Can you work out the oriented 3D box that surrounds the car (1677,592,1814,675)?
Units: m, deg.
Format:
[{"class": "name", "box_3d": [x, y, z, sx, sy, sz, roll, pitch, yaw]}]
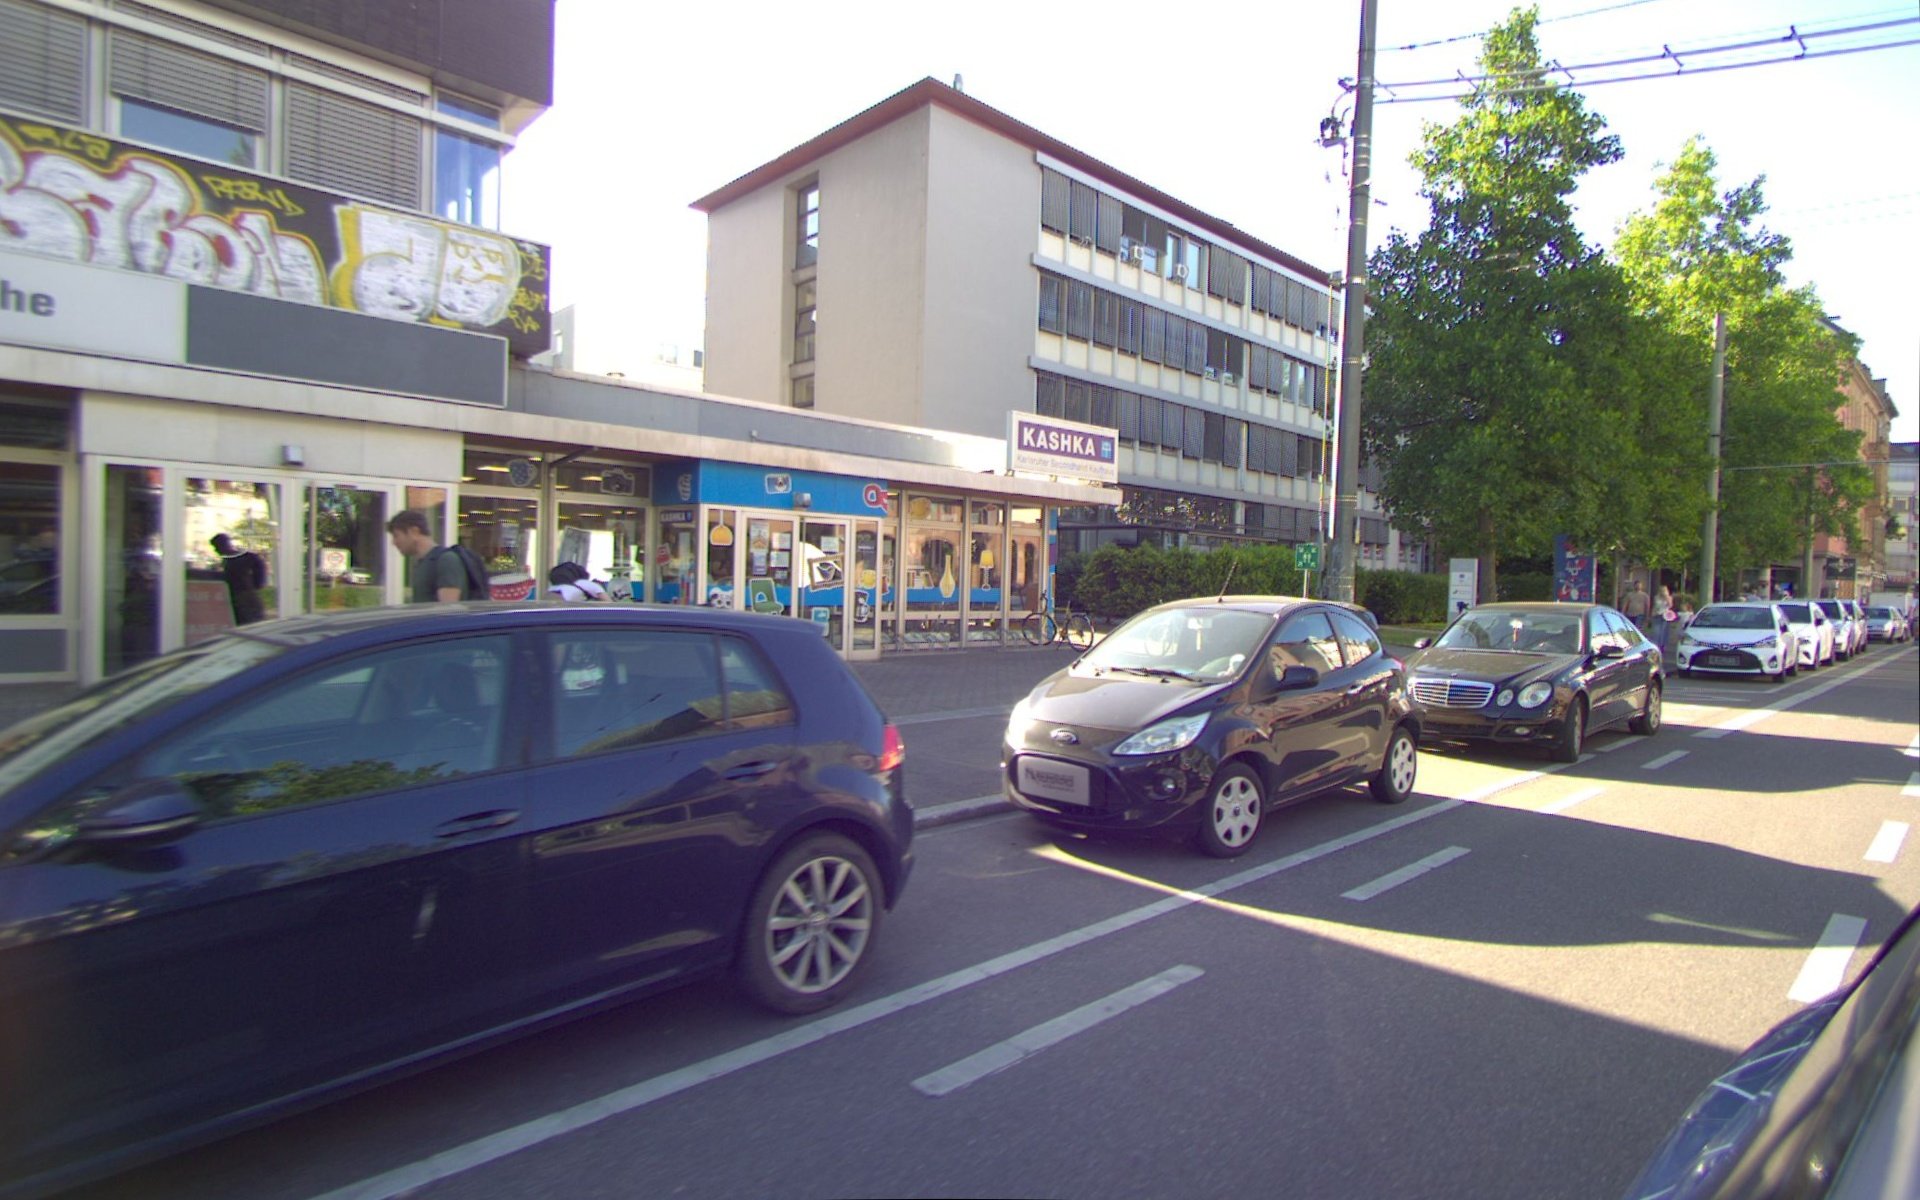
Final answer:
[{"class": "car", "box_3d": [15.874, 0.603, 20.395, 3.801, 1.502, 1.729, 0, 0, -45]}]

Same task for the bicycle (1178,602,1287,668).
[{"class": "bicycle", "box_3d": [4.605, 0.569, 17.220, 0.399, 0.933, 1.810, -1, 4, -45]}]

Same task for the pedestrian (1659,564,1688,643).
[{"class": "pedestrian", "box_3d": [18.899, 0.085, 26.801, 0.564, 2.039, 0.507, -1, 0, -43]}]

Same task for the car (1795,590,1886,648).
[{"class": "car", "box_3d": [26.960, 0.518, 30.948, 4.048, 1.570, 1.730, -2, 1, -43]}]

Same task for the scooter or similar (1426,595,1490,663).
[{"class": "scooter or similar", "box_3d": [9.629, 0.541, 19.556, 1.290, 1.224, 0.582, 0, 5, -42]}]

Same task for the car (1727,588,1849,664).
[{"class": "car", "box_3d": [19.515, 0.532, 23.785, 4.047, 1.597, 1.730, -1, 1, -43]}]

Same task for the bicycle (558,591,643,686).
[{"class": "bicycle", "box_3d": [-4.265, 0.424, 11.940, 0.334, 0.932, 1.574, -1, 6, -43]}]

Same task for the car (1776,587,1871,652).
[{"class": "car", "box_3d": [23.567, 0.463, 27.578, 1.729, 1.615, 4.050, 0, 1, 44]}]

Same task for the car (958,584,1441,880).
[{"class": "car", "box_3d": [1.790, 0.648, 6.929, 3.498, 1.501, 1.572, -1, 1, -43]}]

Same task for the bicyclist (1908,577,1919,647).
[{"class": "bicyclist", "box_3d": [25.228, 0.299, 26.218, 1.013, 1.787, 0.894, -1, 1, -43]}]

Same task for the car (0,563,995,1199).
[{"class": "car", "box_3d": [-1.941, 0.660, 3.278, 4.156, 1.501, 1.700, -1, 1, -44]}]

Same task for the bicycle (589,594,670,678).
[{"class": "bicycle", "box_3d": [-4.198, 0.429, 12.796, 0.334, 0.933, 1.573, -1, 3, -43]}]

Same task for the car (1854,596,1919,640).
[{"class": "car", "box_3d": [35.624, 0.654, 38.757, 4.047, 1.501, 1.730, -2, 1, -43]}]

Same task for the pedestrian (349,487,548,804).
[{"class": "pedestrian", "box_3d": [-3.416, 0.268, 6.777, 1.044, 1.935, 0.685, -1, 1, -40]}]

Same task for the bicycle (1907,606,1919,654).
[{"class": "bicycle", "box_3d": [25.289, 0.777, 26.265, 2.044, 1.176, 0.888, -1, 1, -43]}]

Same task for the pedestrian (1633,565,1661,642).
[{"class": "pedestrian", "box_3d": [18.572, 0.088, 27.347, 0.564, 2.039, 0.507, -1, 0, -43]}]

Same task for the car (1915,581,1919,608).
[{"class": "car", "box_3d": [57.227, -0.357, 59.220, 4.048, 1.501, 1.730, -2, 1, -43]}]

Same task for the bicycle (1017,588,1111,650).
[{"class": "bicycle", "box_3d": [1.921, 0.322, 18.881, 0.563, 0.977, 1.806, -1, 5, -42]}]

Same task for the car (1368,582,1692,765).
[{"class": "car", "box_3d": [6.375, 0.598, 11.019, 4.847, 1.501, 1.730, -2, 1, -44]}]

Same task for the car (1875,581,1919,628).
[{"class": "car", "box_3d": [45.279, 0.180, 48.553, 4.048, 2.075, 1.730, -2, 1, -43]}]

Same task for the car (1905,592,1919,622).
[{"class": "car", "box_3d": [52.586, 0.386, 54.874, 4.183, 1.501, 1.730, -2, 1, -43]}]

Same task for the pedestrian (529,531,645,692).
[{"class": "pedestrian", "box_3d": [-4.228, 0.095, 11.456, 0.901, 1.667, 1.012, -1, 6, -42]}]
